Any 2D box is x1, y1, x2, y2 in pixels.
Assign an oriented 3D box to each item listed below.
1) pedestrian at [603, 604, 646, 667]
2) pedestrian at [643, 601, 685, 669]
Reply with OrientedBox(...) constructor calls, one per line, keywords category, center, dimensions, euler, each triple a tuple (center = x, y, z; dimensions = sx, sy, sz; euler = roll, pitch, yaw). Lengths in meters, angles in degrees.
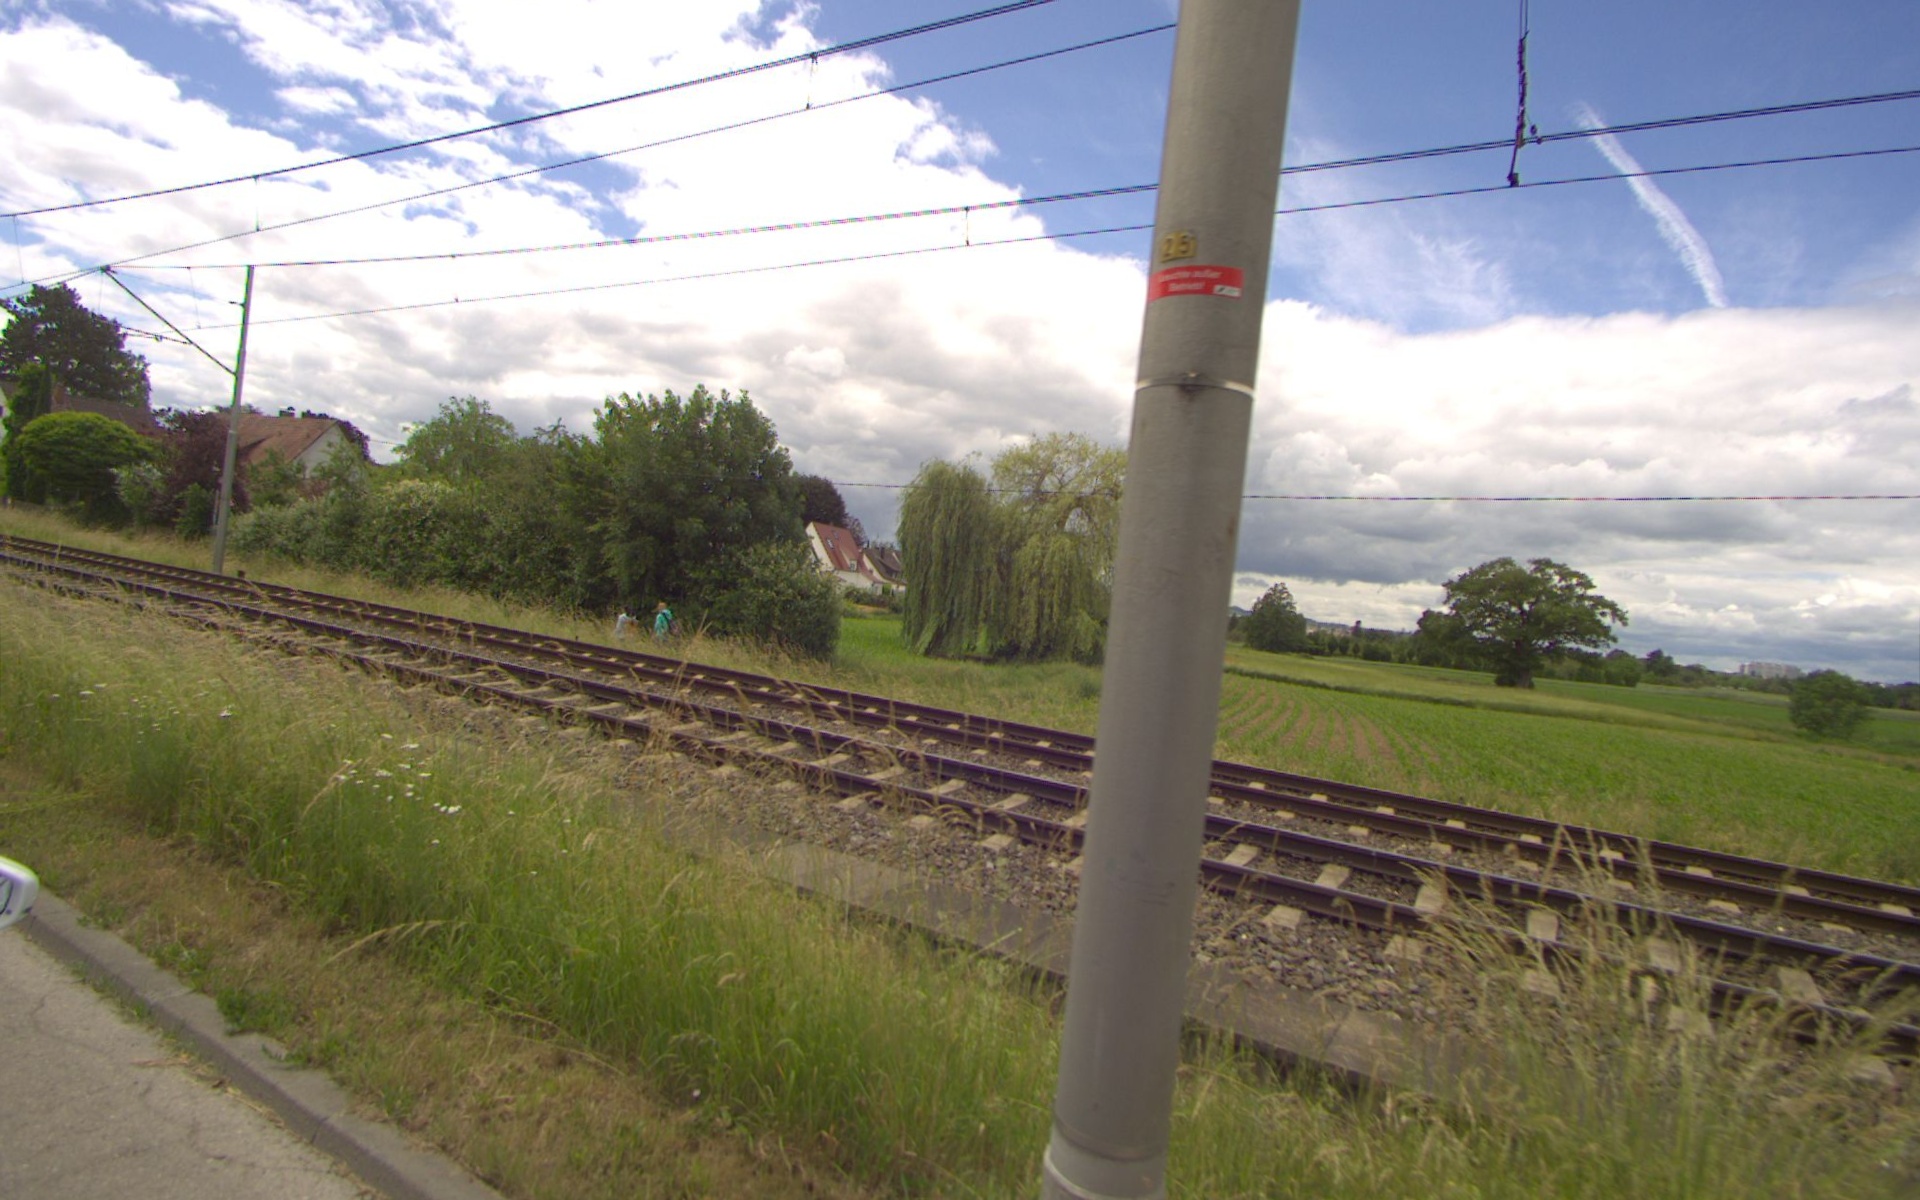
OrientedBox(category="pedestrian", center=(-8.313, 0.884, 24.905), dimensions=(0.657, 1.447, 0.597), euler=(7, -1, 40))
OrientedBox(category="pedestrian", center=(-7.602, 0.901, 25.846), dimensions=(0.574, 1.641, 0.617), euler=(7, 0, 32))
